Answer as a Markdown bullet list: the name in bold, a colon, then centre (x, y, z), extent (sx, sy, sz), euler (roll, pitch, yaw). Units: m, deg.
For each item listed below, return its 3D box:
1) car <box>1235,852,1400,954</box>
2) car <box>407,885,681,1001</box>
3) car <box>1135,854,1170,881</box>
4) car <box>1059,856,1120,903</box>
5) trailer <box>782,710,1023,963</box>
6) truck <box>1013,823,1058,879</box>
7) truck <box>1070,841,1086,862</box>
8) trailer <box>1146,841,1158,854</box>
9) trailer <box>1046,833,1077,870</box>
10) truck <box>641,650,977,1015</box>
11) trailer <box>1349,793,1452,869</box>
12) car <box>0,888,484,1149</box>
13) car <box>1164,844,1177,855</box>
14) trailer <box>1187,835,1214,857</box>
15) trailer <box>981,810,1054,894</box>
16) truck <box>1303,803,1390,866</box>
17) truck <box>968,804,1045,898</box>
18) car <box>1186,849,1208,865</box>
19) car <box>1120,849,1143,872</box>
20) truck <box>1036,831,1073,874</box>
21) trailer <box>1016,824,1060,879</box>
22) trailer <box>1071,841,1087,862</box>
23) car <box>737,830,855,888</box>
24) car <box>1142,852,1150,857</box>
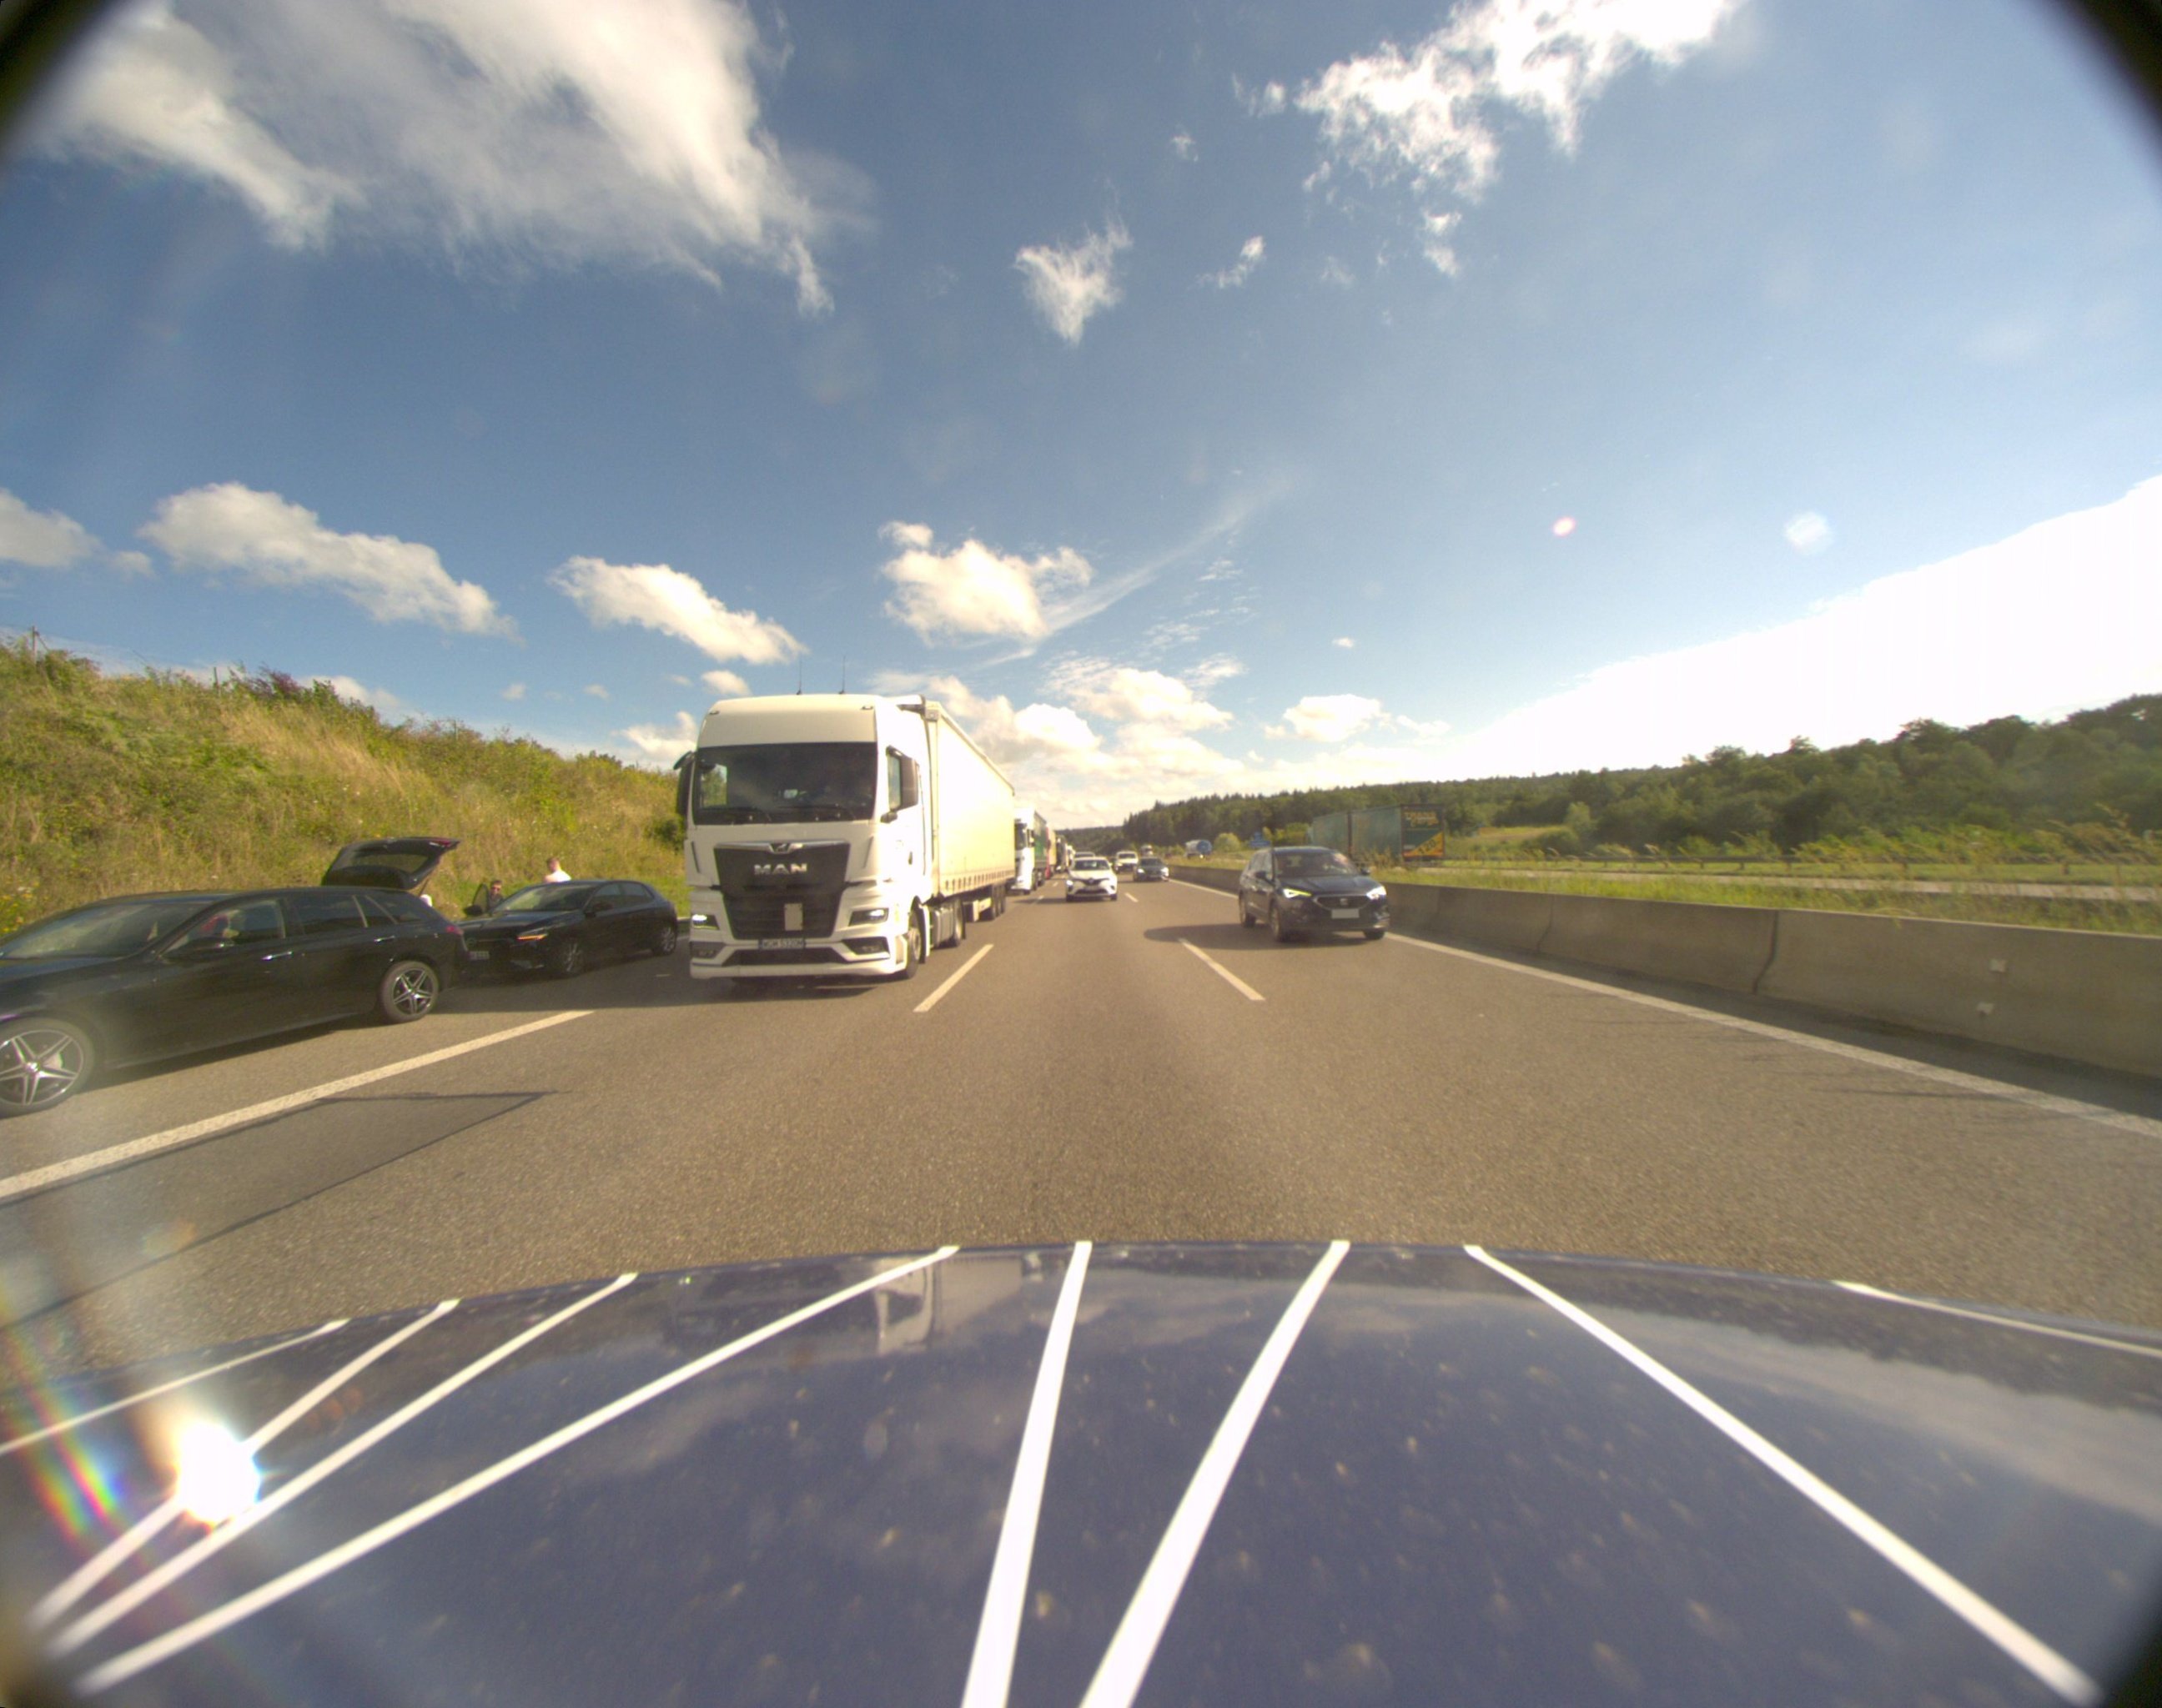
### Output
- **car**: centre (4.149, 0.770, 14.059), extent (1.779, 1.533, 4.158), euler (-2, 1, 1)
- **car**: centre (-8.136, 1.268, 11.996), extent (1.637, 1.344, 3.738), euler (-2, 0, 0)
- **car**: centre (4.293, 0.778, 46.136), extent (1.779, 1.451, 4.158), euler (-2, 1, 1)
- **car**: centre (0.394, 0.873, 28.748), extent (2.026, 1.511, 5.299), euler (-3, 0, 2)
- **trailer**: centre (-3.416, -0.295, 18.886), extent (2.709, 4.058, 12.943), euler (-1, 0, 1)
- **truck**: centre (-3.384, -0.229, 57.749), extent (2.809, 3.916, 5.825), euler (-3, 1, 0)
- **truck**: centre (-0.523, -0.516, 149.610), extent (2.655, 3.902, 6.943), euler (-5, 0, 2)
- **trailer**: centre (20.981, -1.892, 224.852), extent (2.806, 3.508, 8.953), euler (-2, 1, 1)
- **trailer**: centre (-2.188, -0.235, 89.694), extent (2.722, 3.937, 8.712), euler (-5, 0, 3)
- **truck**: centre (-3.487, -0.257, 11.723), extent (2.715, 4.036, 6.361), euler (-2, 1, 1)
- **trailer**: centre (19.628, -1.310, 47.355), extent (2.732, 4.219, 8.551), euler (-2, 1, 0)
- **car**: centre (-7.961, 1.182, 6.507), extent (1.905, 1.504, 4.737), euler (-2, 0, 0)
- **car**: centre (16.294, -0.800, 137.771), extent (1.764, 1.871, 4.000), euler (-5, 1, 1)
- **trailer**: centre (19.623, -1.368, 125.175), extent (2.327, 3.265, 10.874), euler (-5, 1, 0)
- **trailer**: centre (-3.216, -0.164, 42.350), extent (2.668, 3.846, 13.393), euler (-2, 1, 1)
- **truck**: centre (19.557, -1.365, 56.797), extent (2.718, 4.219, 10.342), euler (-2, 1, 0)
- **truck**: centre (-3.294, -0.167, 35.434), extent (2.653, 3.846, 6.995), euler (-2, 1, 1)
- **car**: centre (12.481, 0.321, 81.941), extent (1.673, 1.573, 3.999), euler (-5, 1, 0)
- **car**: centre (4.428, 0.568, 67.060), extent (1.779, 1.923, 4.214), euler (-2, 0, 1)
- **truck**: centre (-2.638, -0.231, 80.232), extent (2.747, 4.015, 10.203), euler (-5, 1, 3)
- **trailer**: centre (-3.388, -0.237, 63.270), extent (2.799, 3.916, 13.067), euler (-3, 1, 0)
- **trailer**: centre (-0.313, -0.542, 156.393), extent (2.652, 3.911, 11.175), euler (-5, 0, 2)
- **car**: centre (-7.343, 0.118, 19.981), extent (1.664, 1.344, 3.738), euler (-2, 0, 0)
- **car**: centre (16.776, 0.096, 195.190), extent (1.694, 1.274, 3.708), euler (-5, 1, 1)
